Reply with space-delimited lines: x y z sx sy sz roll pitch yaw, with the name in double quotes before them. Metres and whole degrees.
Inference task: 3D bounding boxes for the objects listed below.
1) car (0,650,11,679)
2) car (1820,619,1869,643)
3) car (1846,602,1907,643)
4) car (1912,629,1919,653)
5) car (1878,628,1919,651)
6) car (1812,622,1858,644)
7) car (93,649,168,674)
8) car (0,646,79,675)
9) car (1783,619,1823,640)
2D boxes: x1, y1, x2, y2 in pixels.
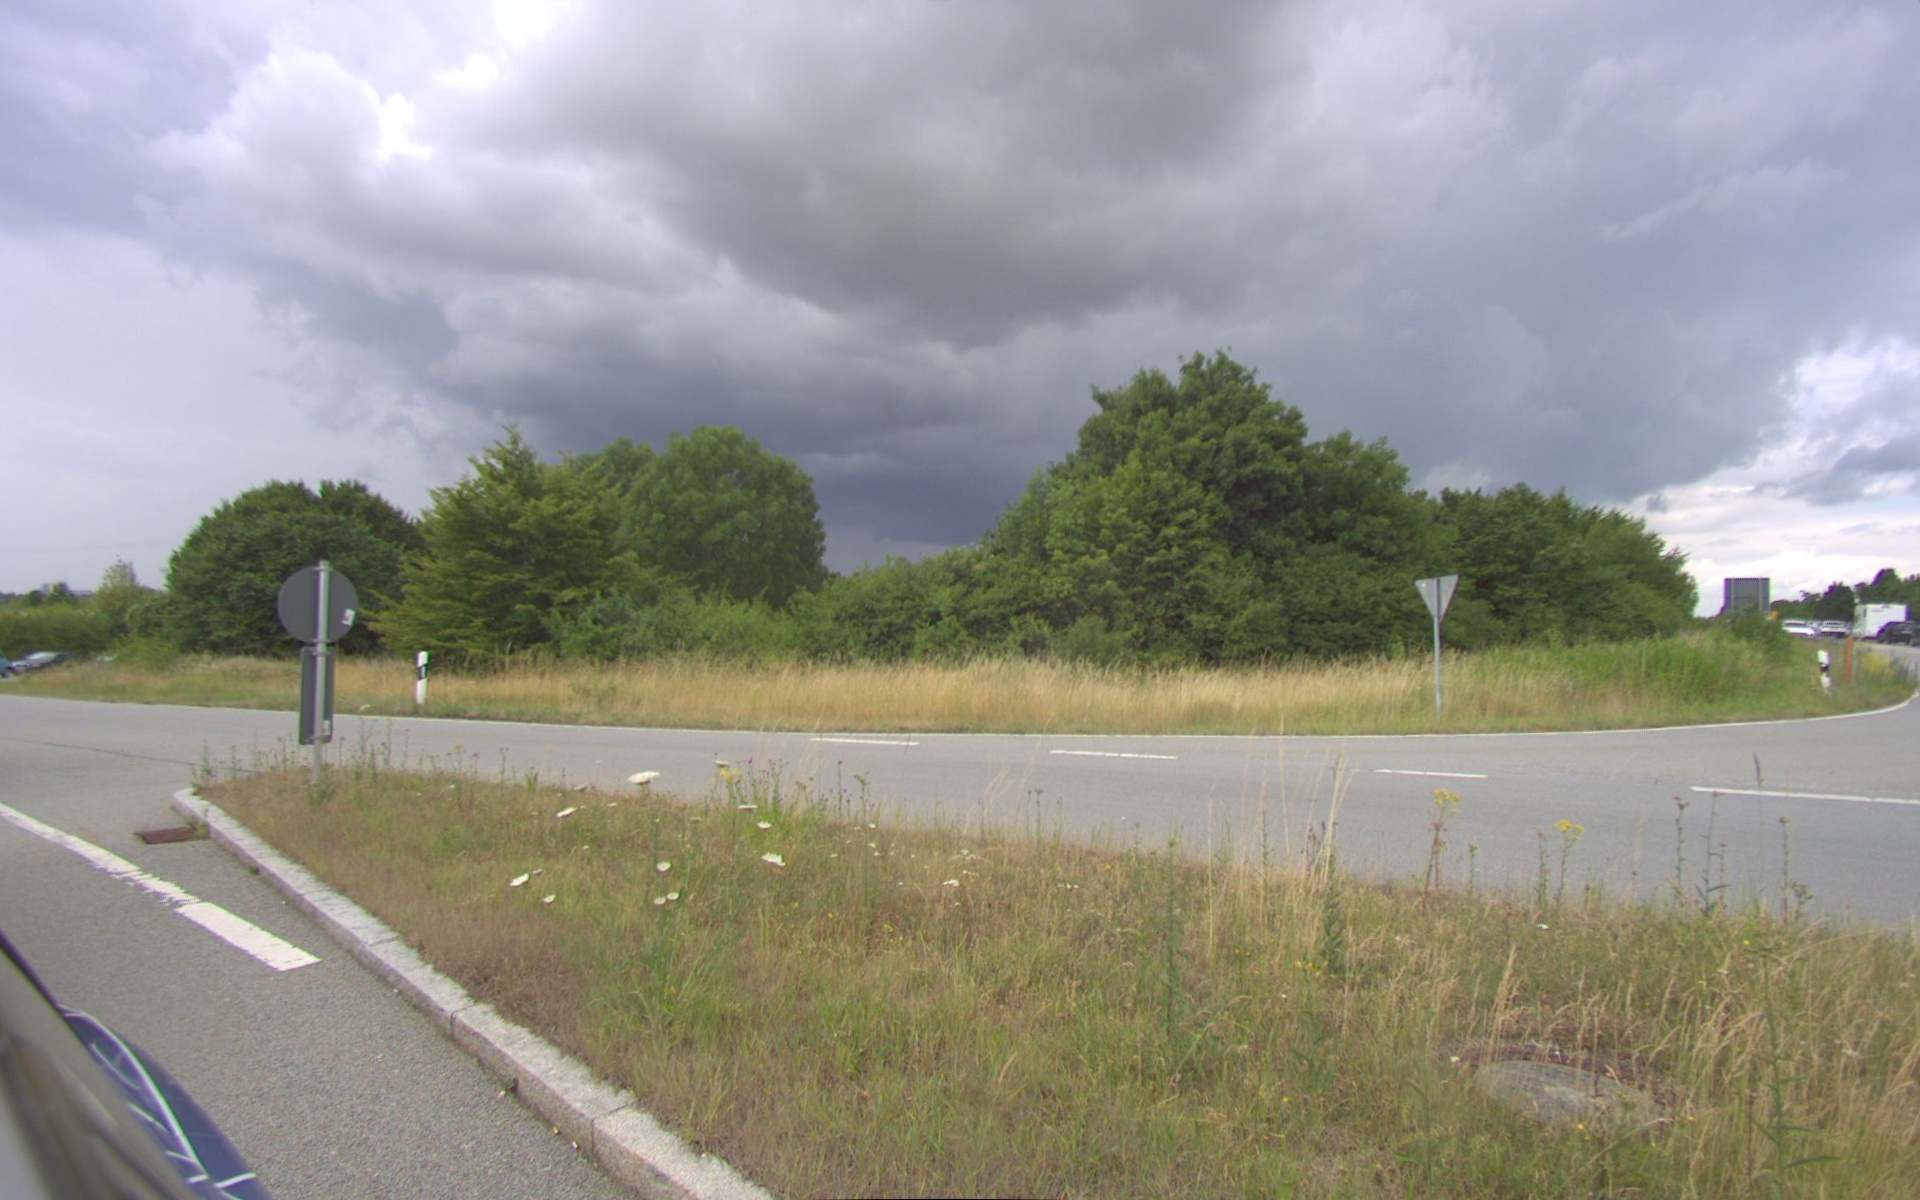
"car" -52.890 3.500 53.843 1.791 1.544 4.011 1 -2 -16
"car" 75.419 2.656 86.357 2.334 1.936 4.821 0 -2 32
"car" 70.866 1.757 78.373 2.333 3.052 6.487 0 -2 32
"car" 61.657 2.598 63.655 1.842 1.537 3.956 0 -2 32
"car" 65.840 2.762 70.724 1.843 1.537 3.955 0 -2 33
"car" 79.153 2.960 91.591 2.333 1.936 4.822 0 -2 32
"car" -54.415 4.021 66.506 1.795 1.544 4.004 1 -2 -4
"car" -53.991 3.537 59.243 1.793 1.544 4.008 1 -2 -10
"car" 83.359 2.927 100.143 2.334 1.936 4.821 0 -2 32
